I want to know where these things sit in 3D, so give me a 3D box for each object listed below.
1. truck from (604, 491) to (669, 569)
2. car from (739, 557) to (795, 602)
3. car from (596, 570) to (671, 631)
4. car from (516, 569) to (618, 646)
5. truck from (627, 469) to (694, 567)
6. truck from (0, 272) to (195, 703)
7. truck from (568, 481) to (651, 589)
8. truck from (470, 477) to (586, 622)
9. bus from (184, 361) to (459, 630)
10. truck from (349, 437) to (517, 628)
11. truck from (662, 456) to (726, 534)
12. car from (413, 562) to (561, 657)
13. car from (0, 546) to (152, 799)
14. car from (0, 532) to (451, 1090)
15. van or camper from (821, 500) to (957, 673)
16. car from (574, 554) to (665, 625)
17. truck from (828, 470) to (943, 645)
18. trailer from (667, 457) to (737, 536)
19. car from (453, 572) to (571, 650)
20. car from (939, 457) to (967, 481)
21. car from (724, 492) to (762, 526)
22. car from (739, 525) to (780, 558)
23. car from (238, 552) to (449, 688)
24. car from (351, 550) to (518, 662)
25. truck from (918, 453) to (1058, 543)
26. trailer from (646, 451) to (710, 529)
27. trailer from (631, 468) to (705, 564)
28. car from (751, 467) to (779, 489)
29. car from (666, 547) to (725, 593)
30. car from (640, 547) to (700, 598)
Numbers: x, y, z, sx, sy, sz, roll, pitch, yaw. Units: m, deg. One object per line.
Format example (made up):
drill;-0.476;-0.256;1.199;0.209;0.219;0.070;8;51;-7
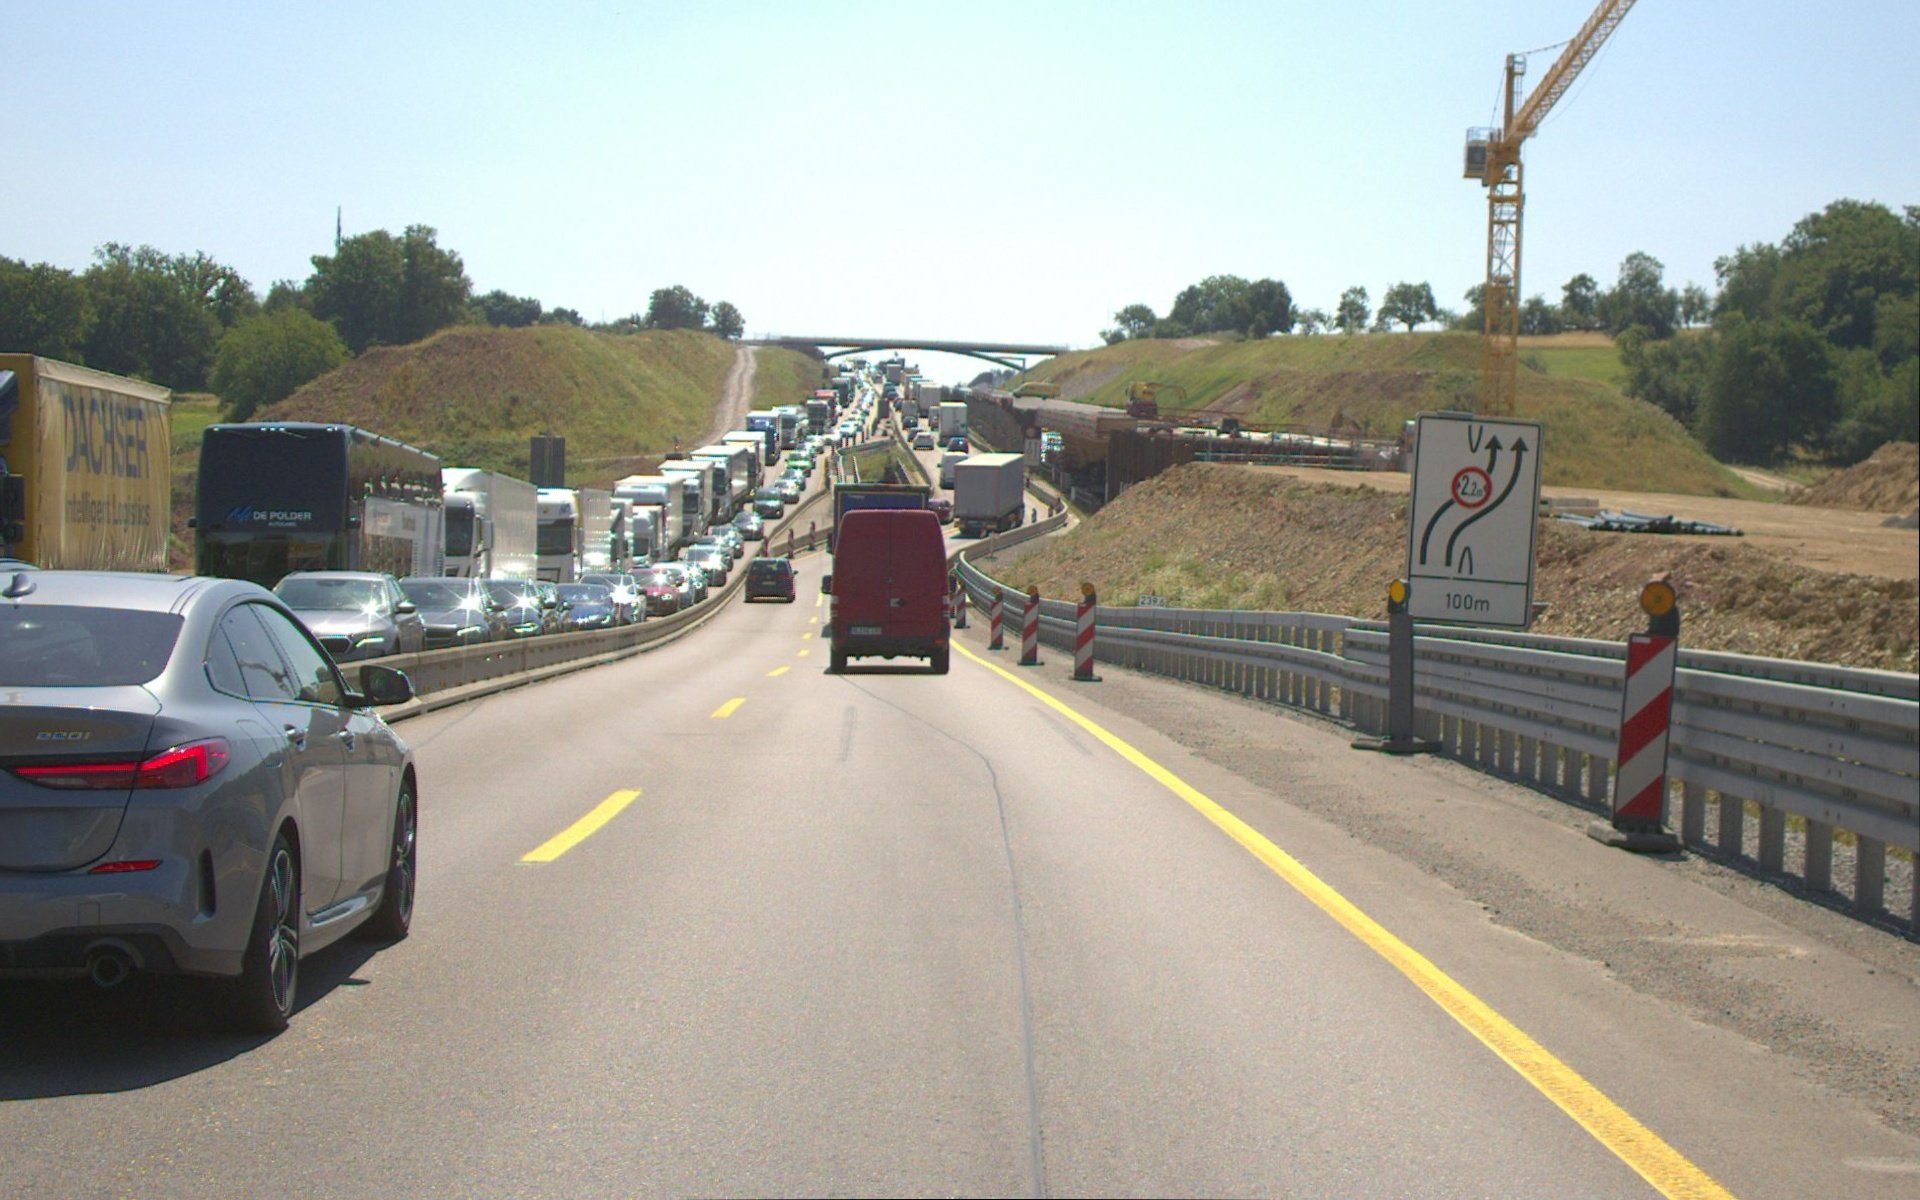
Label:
truck;-13.468;-2.968;143.540;2.433;3.137;7.025;0;2;-3
car;-7.193;-0.784;128.331;2.011;1.539;4.133;1;2;-3
car;-9.941;0.007;104.824;1.993;1.625;4.759;2;2;-3
car;-8.487;0.138;74.581;1.812;1.432;5.122;2;2;-3
truck;-13.203;-3.672;152.009;2.550;4.216;6.531;1;2;-2
truck;-10.816;-1.159;37.895;2.802;4.138;10.080;1;1;-2
truck;-13.058;-2.455;128.703;2.524;3.842;8.672;1;1;-3
truck;-12.864;-1.513;102.711;2.977;4.170;5.875;1;1;-3
bus;-11.313;-1.905;62.456;2.739;4.249;14.478;1;2;-2
truck;-12.148;-1.572;79.766;3.097;4.183;6.703;1;1;-3
truck;-15.519;-6.097;200.753;3.052;4.465;5.980;1;1;1
car;-7.916;0.122;57.977;1.918;1.418;5.091;2;1;-2
car;-6.828;0.407;22.742;1.882;1.427;5.126;2;2;-2
car;-2.987;0.540;11.877;1.851;1.447;4.743;1;2;-2
van or camper;-1.227;-0.286;57.396;2.029;2.735;4.516;1;2;-3
car;-8.671;-0.285;87.878;1.993;1.615;4.883;1;2;-2
truck;-2.043;-1.252;95.868;3.020;4.676;6.933;-1;2;-1
trailer;-15.432;-6.238;206.444;3.042;4.536;12.128;1;2;1
car;-8.489;0.188;65.425;1.832;1.418;4.684;1;0;-3
car;-0.524;-9.620;252.782;1.952;1.635;4.268;1;2;-2
car;-11.864;-4.988;188.342;1.993;1.777;4.001;1;2;-3
car;-9.457;-2.769;162.582;1.827;1.530;4.547;-1;1;-2
car;-7.316;0.195;41.226;1.859;1.489;4.905;-1;1;-3
car;-7.668;0.045;50.553;1.838;1.438;4.931;1;2;-2
truck;1.766;-5.931;200.619;5.163;4.980;13.868;2;2;13
trailer;-14.911;-5.788;182.382;2.783;3.918;11.009;1;1;-2
trailer;-13.508;-3.903;159.808;2.594;4.242;12.469;1;2;-1
car;-13.060;-8.175;230.440;1.747;1.404;4.001;1;2;-2
car;-9.784;-1.130;127.520;1.993;1.551;4.339;1;2;-2
car;-9.810;-0.944;116.581;1.827;1.568;4.001;1;2;-2
